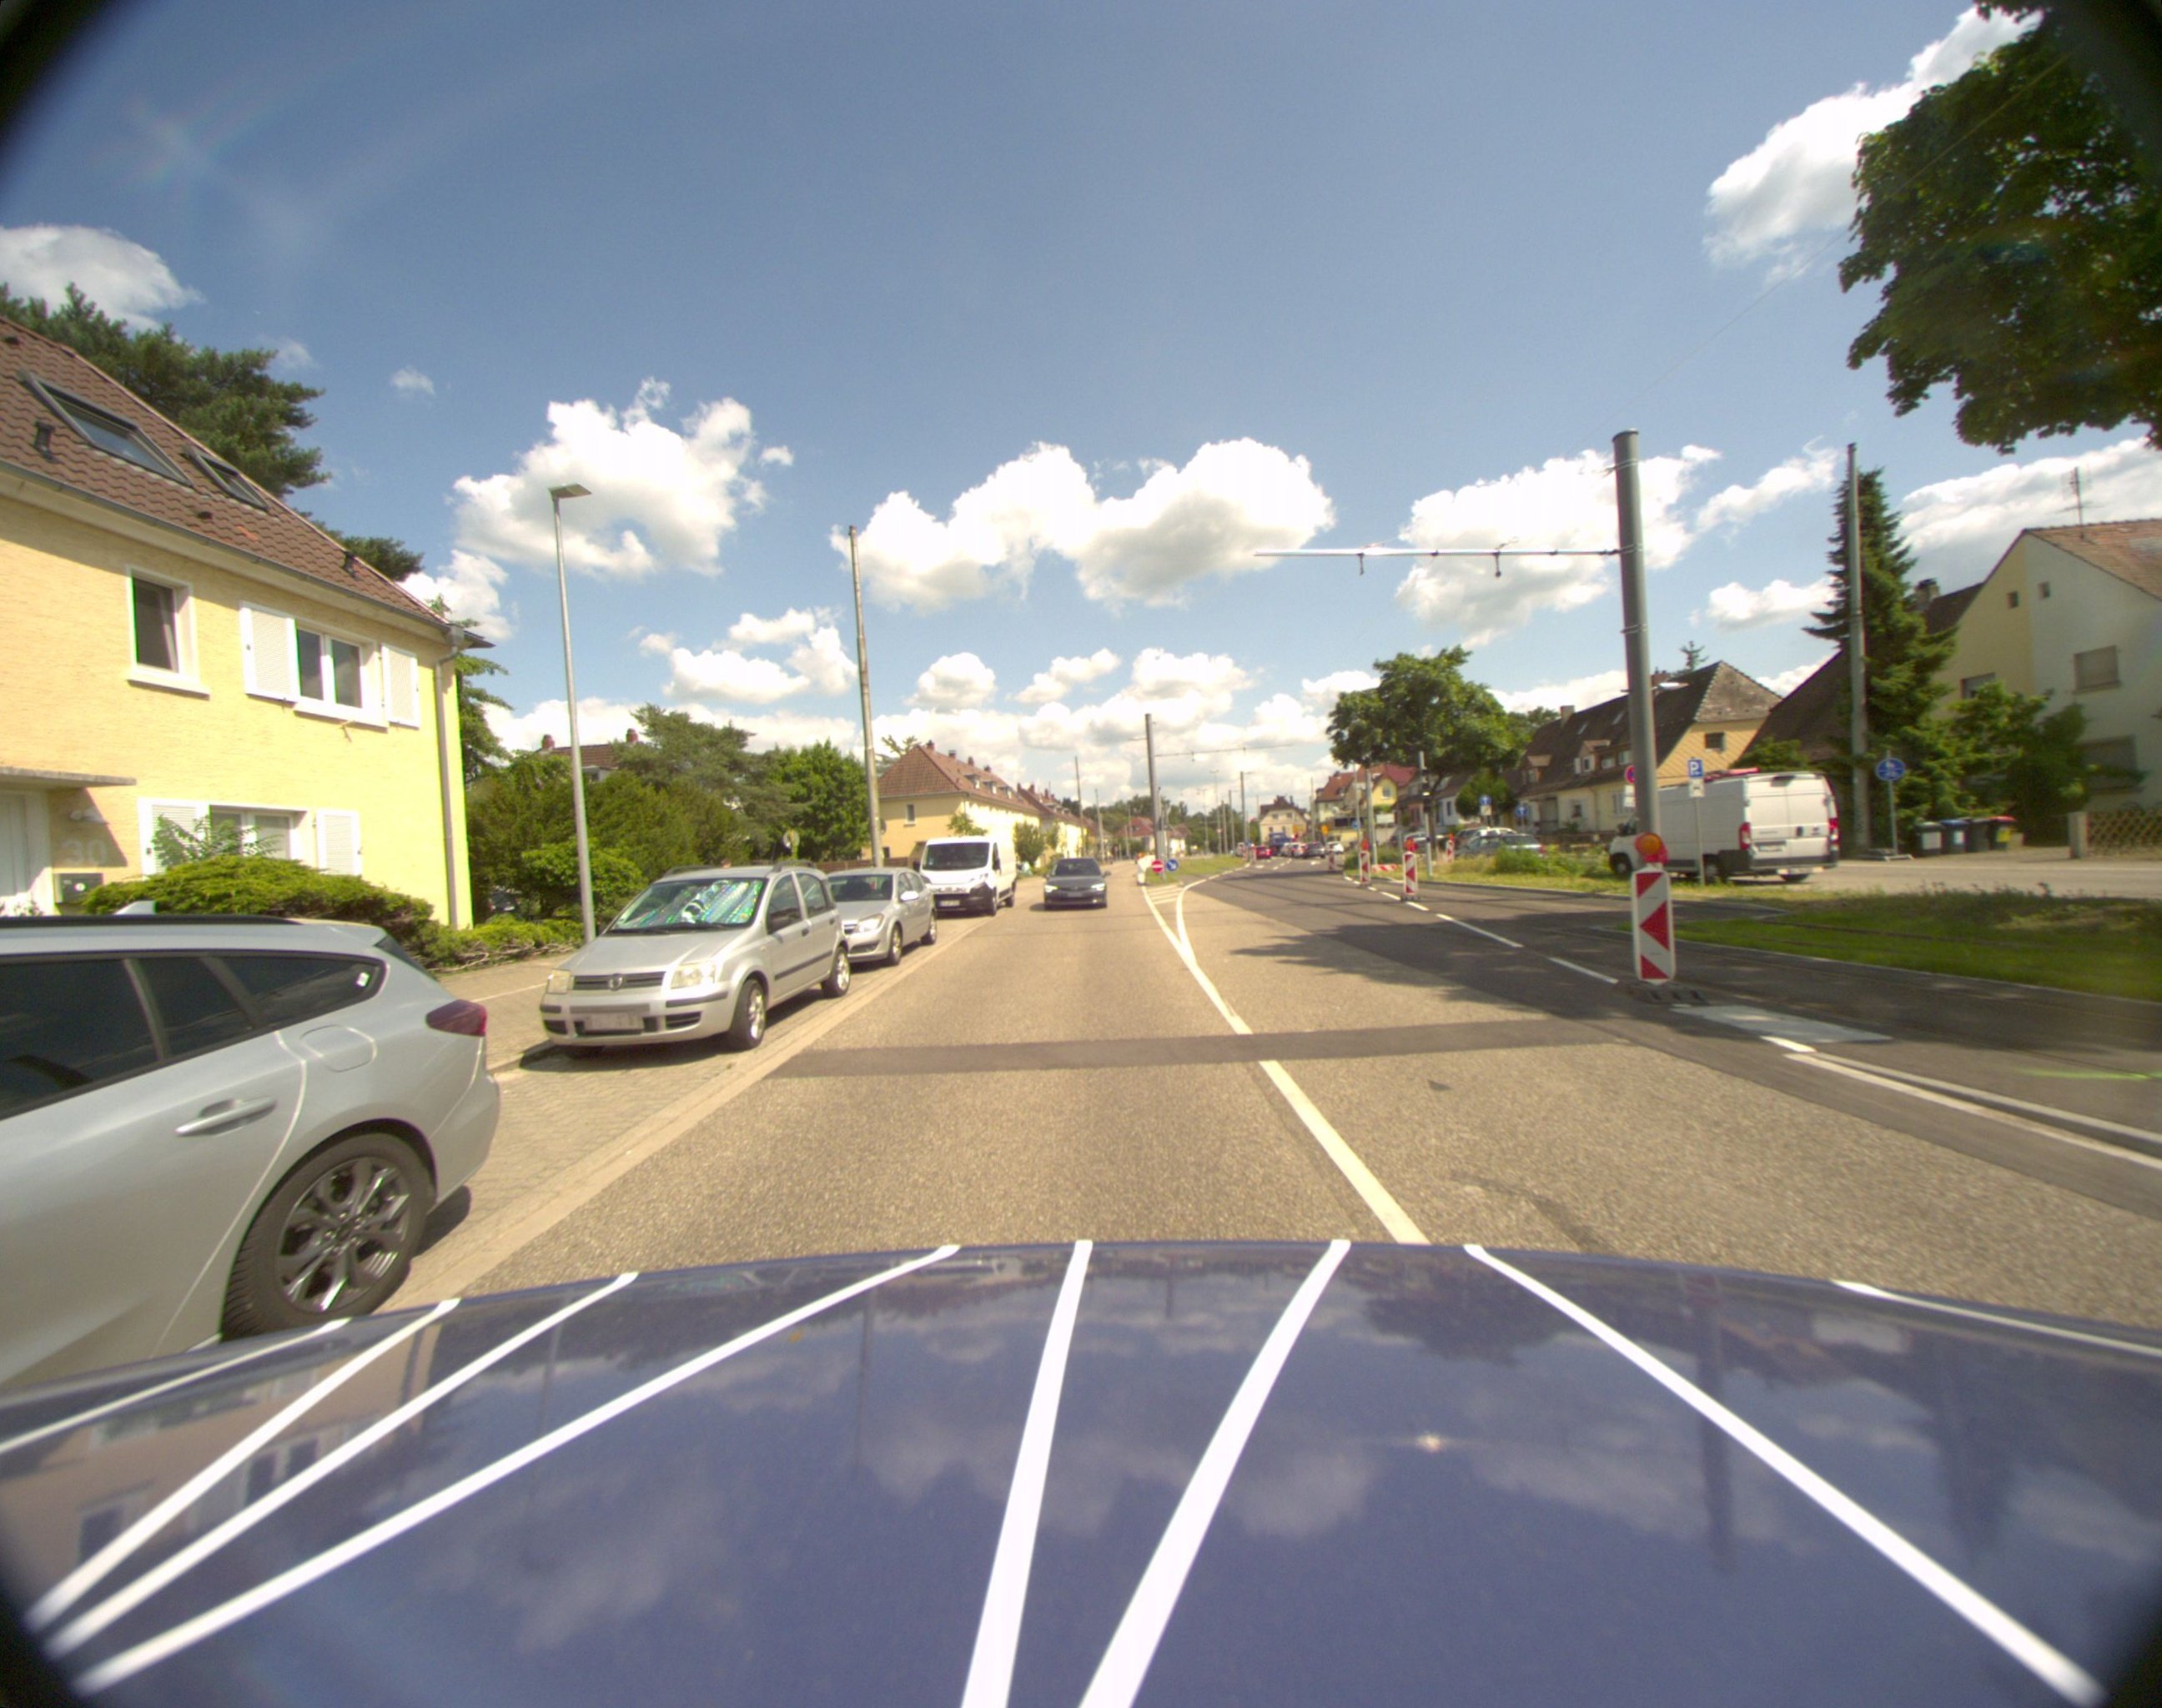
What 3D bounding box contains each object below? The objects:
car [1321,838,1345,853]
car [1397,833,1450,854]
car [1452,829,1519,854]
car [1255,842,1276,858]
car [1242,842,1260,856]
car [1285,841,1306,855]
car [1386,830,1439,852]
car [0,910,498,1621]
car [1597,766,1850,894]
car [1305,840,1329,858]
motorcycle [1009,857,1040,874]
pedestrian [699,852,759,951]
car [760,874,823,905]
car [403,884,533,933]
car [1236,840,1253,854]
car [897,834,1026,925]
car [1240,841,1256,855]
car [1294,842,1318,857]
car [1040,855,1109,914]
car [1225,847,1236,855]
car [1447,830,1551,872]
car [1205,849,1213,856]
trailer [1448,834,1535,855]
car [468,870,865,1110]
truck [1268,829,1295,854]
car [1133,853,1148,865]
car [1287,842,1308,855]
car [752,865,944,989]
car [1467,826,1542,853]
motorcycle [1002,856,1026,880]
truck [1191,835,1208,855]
[{"bbox_3d":[27.625,-0.923,83.436,1.728,1.553,4.544,-3,0,8],"label":"car"},{"bbox_3d":[30.451,-0.925,67.645,3.886,1.546,1.682,-3,0,4],"label":"car"},{"bbox_3d":[29.383,-0.903,55.336,3.891,1.535,1.707,-3,0,9],"label":"car"},{"bbox_3d":[19.668,-0.464,81.220,1.728,1.553,4.544,-3,0,8],"label":"car"},{"bbox_3d":[21.251,-0.633,95.234,1.729,1.553,4.544,-3,0,7],"label":"car"},{"bbox_3d":[25.351,-0.738,89.967,1.728,1.553,4.544,-3,0,8],"label":"car"},{"bbox_3d":[30.767,-1.181,70.579,3.996,1.835,1.803,-3,0,4],"label":"car"},{"bbox_3d":[-3.347,1.035,0.985,1.754,1.489,4.384,-2,1,-1],"label":"car"},{"bbox_3d":[15.666,-0.531,19.009,2.158,2.653,4.916,-3,0,1],"label":"car"},{"bbox_3d":[21.465,-0.484,69.276,1.728,1.518,4.774,-3,0,13],"label":"car"},{"bbox_3d":[-4.444,0.874,59.698,2.232,1.190,0.855,-3,0,9],"label":"motorcycle"},{"bbox_3d":[-7.415,0.979,16.047,0.774,2.002,0.761,-3,1,1],"label":"pedestrian"},{"bbox_3d":[-14.877,1.787,39.241,1.564,1.389,3.934,-3,-1,1],"label":"car"},{"bbox_3d":[-26.218,2.317,32.588,4.120,1.680,1.733,-4,4,5],"label":"car"},{"bbox_3d":[23.506,-1.029,109.628,1.921,1.953,4.544,-3,0,7],"label":"car"},{"bbox_3d":[-3.218,0.634,22.113,2.282,2.170,6.369,-3,0,4],"label":"car"},{"bbox_3d":[22.378,-0.818,101.961,1.729,1.843,4.544,-3,0,7],"label":"car"},{"bbox_3d":[22.505,-0.433,76.124,1.728,1.327,4.545,-3,0,10],"label":"car"},{"bbox_3d":[-0.090,0.827,22.898,1.742,1.513,4.702,-2,0,3],"label":"car"},{"bbox_3d":[39.311,-0.803,199.405,2.282,1.861,4.990,-3,0,15],"label":"car"},{"bbox_3d":[16.414,-0.125,30.143,1.696,1.456,4.756,-3,0,3],"label":"car"},{"bbox_3d":[38.536,-0.346,228.927,2.058,1.996,4.952,-3,0,12],"label":"car"},{"bbox_3d":[28.566,-0.647,53.028,4.932,1.118,1.961,-3,0,4],"label":"trailer"},{"bbox_3d":[-3.492,1.013,7.312,1.632,1.541,3.809,-3,0,0],"label":"car"},{"bbox_3d":[27.533,-1.721,104.423,2.841,3.135,7.939,-3,0,10],"label":"truck"},{"bbox_3d":[8.678,0.698,110.345,1.878,1.544,4.987,-3,0,6],"label":"car"},{"bbox_3d":[23.695,-0.638,83.294,1.728,1.327,4.545,-3,0,10],"label":"car"},{"bbox_3d":[-3.461,0.996,12.173,1.712,1.495,4.254,-3,0,0],"label":"car"},{"bbox_3d":[28.093,-0.920,50.499,3.960,1.535,1.761,-3,0,0],"label":"car"},{"bbox_3d":[-4.221,0.868,48.148,1.049,1.462,2.586,-1,1,6],"label":"motorcycle"},{"bbox_3d":[33.207,-2.578,212.429,3.473,5.153,14.229,-3,0,12],"label":"truck"}]
